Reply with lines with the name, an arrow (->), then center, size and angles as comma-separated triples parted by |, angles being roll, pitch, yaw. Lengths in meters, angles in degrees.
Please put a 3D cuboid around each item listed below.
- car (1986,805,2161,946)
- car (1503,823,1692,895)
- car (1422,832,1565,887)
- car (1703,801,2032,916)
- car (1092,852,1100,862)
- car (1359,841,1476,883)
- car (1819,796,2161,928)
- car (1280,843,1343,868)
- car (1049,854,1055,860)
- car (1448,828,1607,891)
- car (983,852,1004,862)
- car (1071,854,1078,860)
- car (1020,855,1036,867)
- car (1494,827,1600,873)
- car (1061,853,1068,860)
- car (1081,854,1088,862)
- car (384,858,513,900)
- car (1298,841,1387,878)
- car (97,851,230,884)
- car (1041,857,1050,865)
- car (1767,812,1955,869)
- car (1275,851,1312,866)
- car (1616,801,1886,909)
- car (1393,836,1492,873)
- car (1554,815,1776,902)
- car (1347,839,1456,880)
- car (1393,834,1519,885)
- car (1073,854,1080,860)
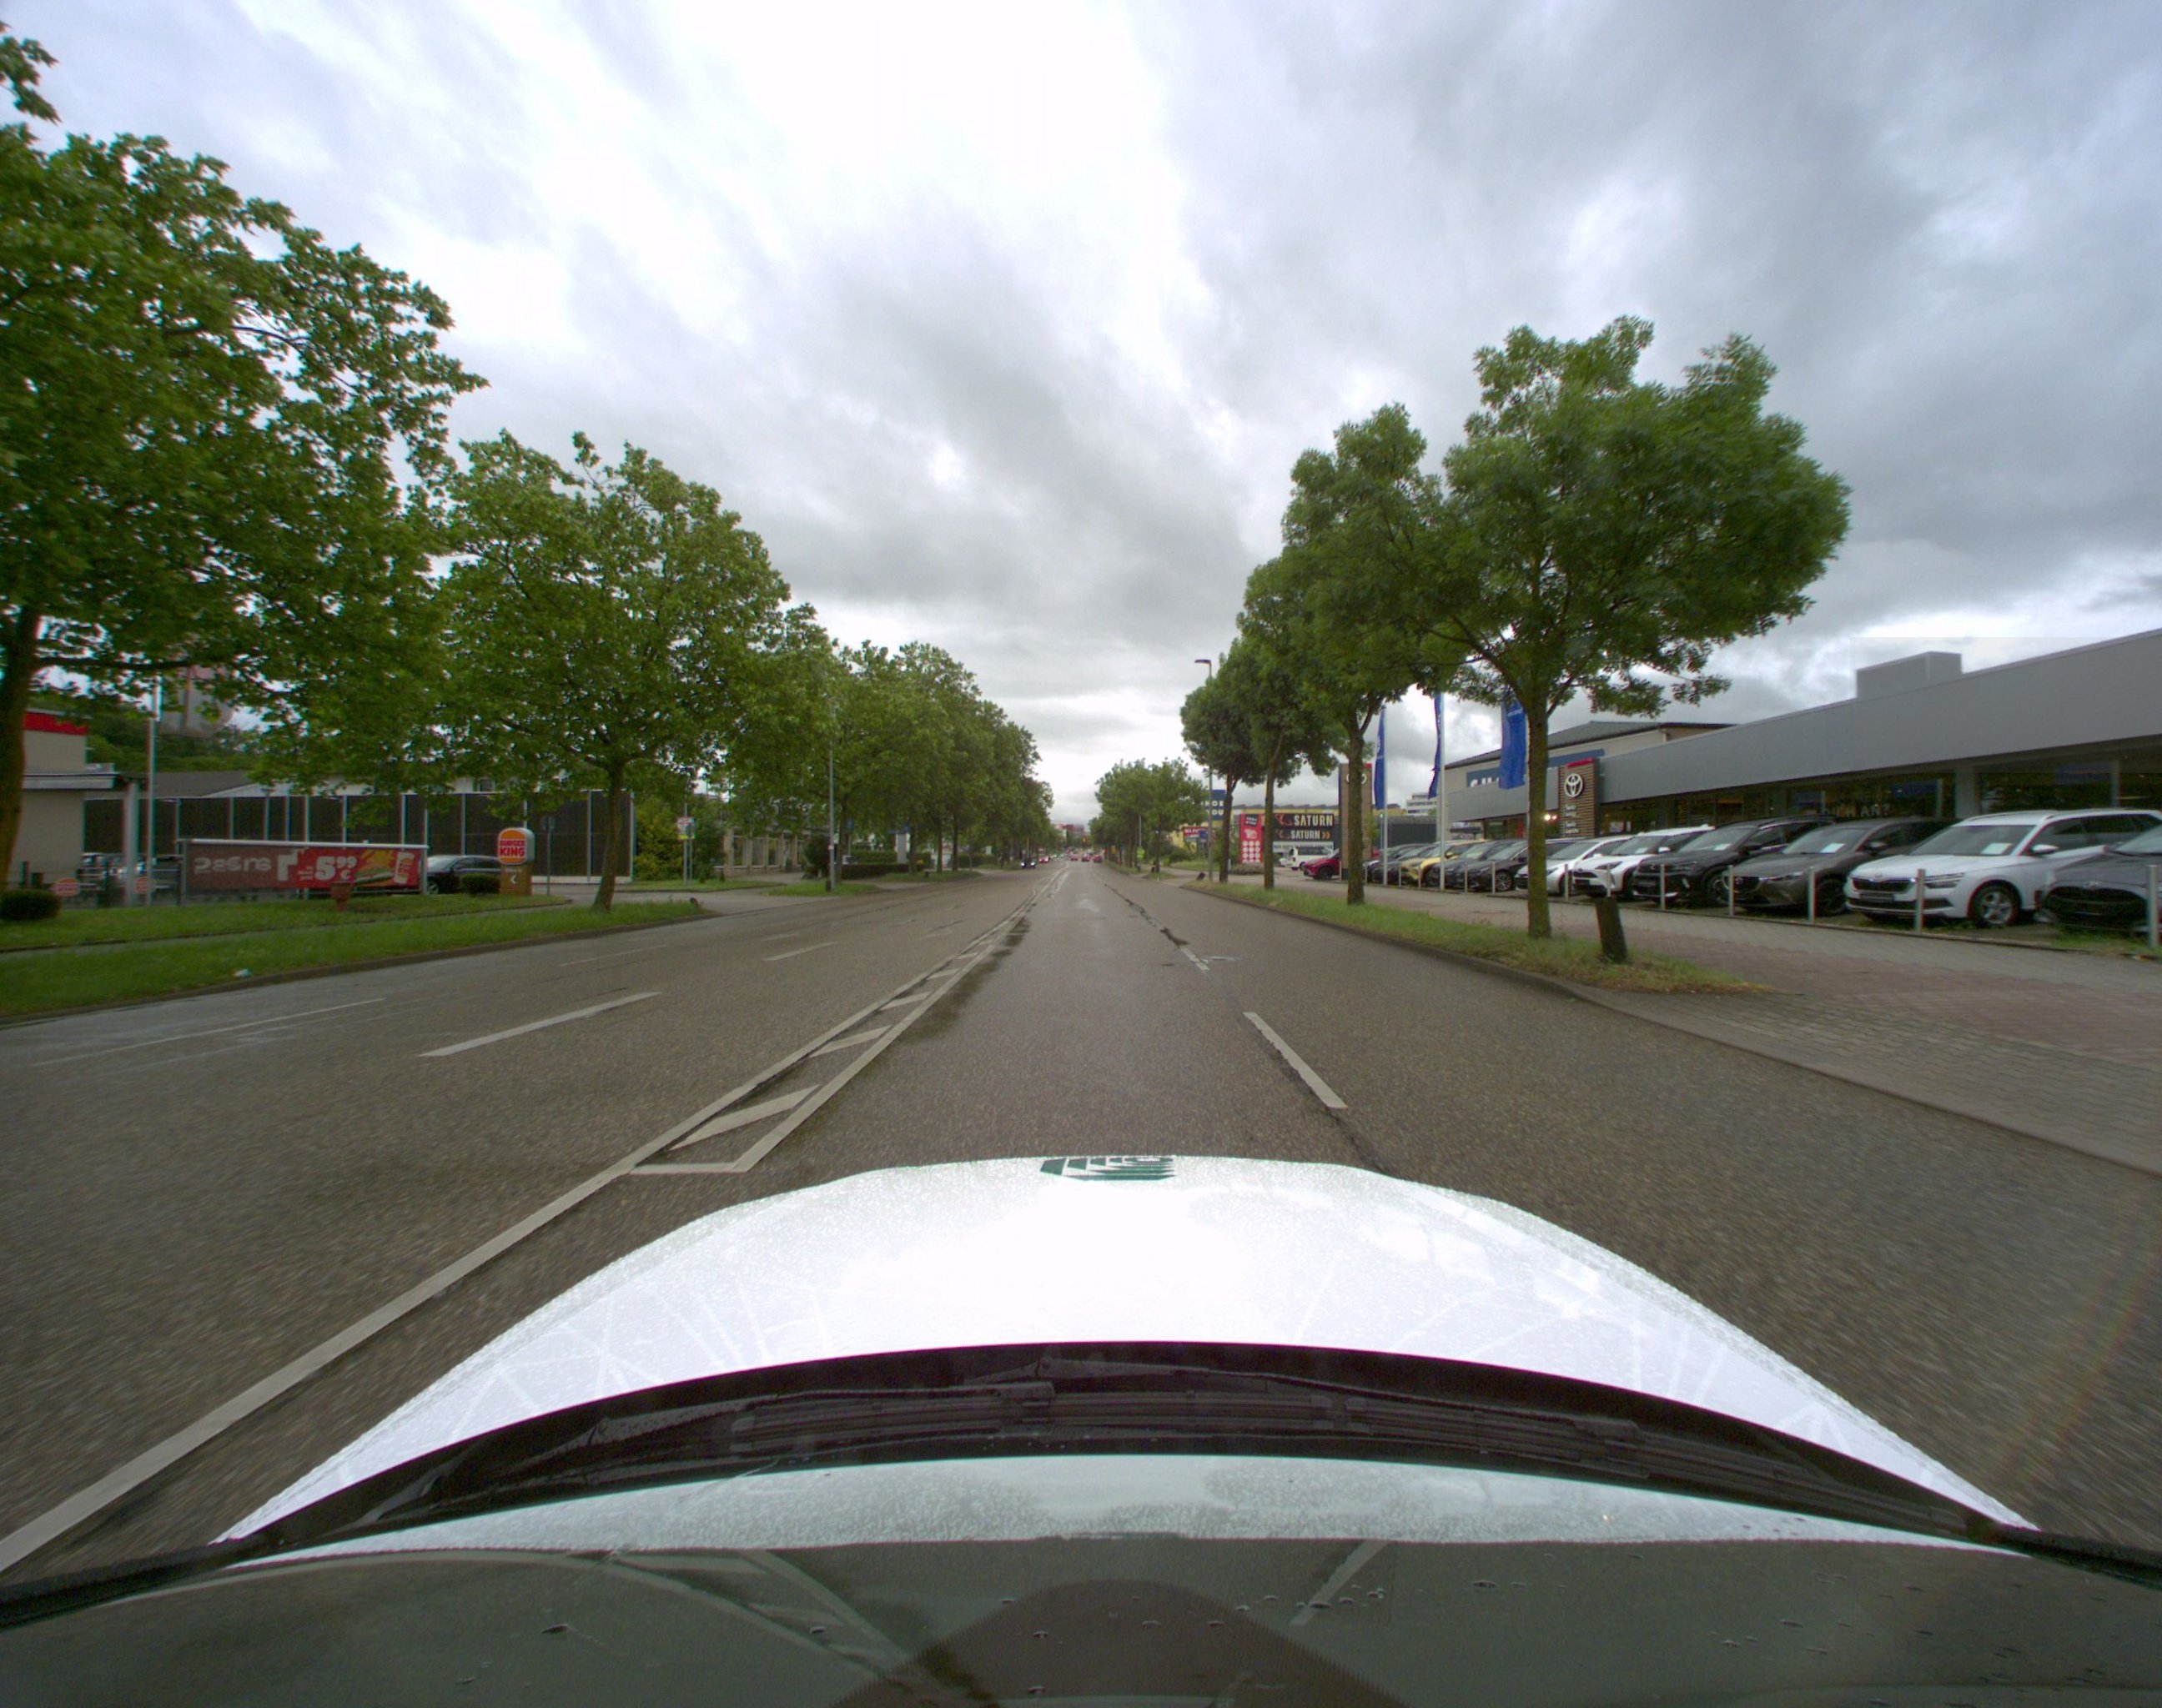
car -> 13.825, 0.123, 9.768 | 3.820, 1.461, 1.828 | -5, 0, 0
car -> 13.991, 0.130, 22.237 | 3.970, 1.786, 1.813 | -2, 0, 2
car -> 14.121, 0.179, 28.054 | 3.971, 1.547, 1.712 | -4, 0, 2
car -> 13.932, 0.075, 14.627 | 3.971, 1.584, 1.813 | -5, 0, 2
car -> 3.418, 0.641, 182.112 | 1.738, 2.013, 4.002 | -1, 0, 2
car -> 13.465, 0.304, 32.729 | 3.973, 1.538, 1.800 | -1, 0, 0
car -> 14.006, 0.092, 12.268 | 3.971, 1.543, 1.813 | -5, 0, 2
car -> 19.599, 0.113, 69.329 | 4.820, 2.014, 1.984 | -1, -1, -9
car -> -9.194, 1.001, 258.096 | 1.697, 1.737, 4.003 | -1, 0, 3
car -> 13.951, 0.172, 25.637 | 3.970, 1.786, 1.813 | -2, 0, 2
car -> -17.611, 0.676, 164.011 | 3.973, 1.925, 1.826 | -1, -1, 0
car -> -1.890, 0.863, 234.440 | 1.738, 1.701, 4.002 | -1, 0, 2
car -> -7.031, 0.890, 108.760 | 1.797, 1.463, 3.846 | -2, 0, 1
car -> 18.373, -0.141, 32.338 | 1.867, 1.621, 4.124 | -3, 0, 2
car -> -5.030, 0.837, 247.477 | 1.987, 2.013, 3.999 | -1, 0, 0
car -> 0.854, 1.093, 211.695 | 1.738, 2.013, 4.002 | -2, 0, 2
car -> -19.655, 0.743, 25.339 | 3.157, 1.155, 1.294 | 2, 0, 8
car -> 13.070, 0.284, 40.894 | 3.828, 1.603, 1.795 | -4, 0, 1
car -> -48.922, 0.702, 43.562 | 1.852, 1.638, 4.330 | -1, 0, 12
car -> -7.791, 1.519, 177.564 | 1.720, 1.517, 3.821 | -1, 0, 0
car -> 23.416, -0.393, 24.559 | 3.971, 1.536, 1.674 | -1, 0, 2
car -> 21.671, 0.454, 83.346 | 1.880, 1.468, 4.937 | -1, 0, -9
car -> 13.872, 0.021, 17.064 | 3.971, 1.786, 1.813 | -5, 0, 2
car -> 17.956, 0.006, 40.570 | 4.090, 1.621, 1.883 | -3, 0, 4
car -> 13.945, 0.101, 19.603 | 3.975, 1.587, 1.812 | -6, 0, -1
car -> 13.809, 0.233, 35.233 | 3.973, 1.647, 1.845 | -1, 0, 0
car -> 13.925, 0.197, 30.358 | 3.829, 1.566, 1.665 | -5, 0, -2
car -> -1.392, 0.829, 249.044 | 1.885, 1.876, 4.123 | -1, 0, 0
